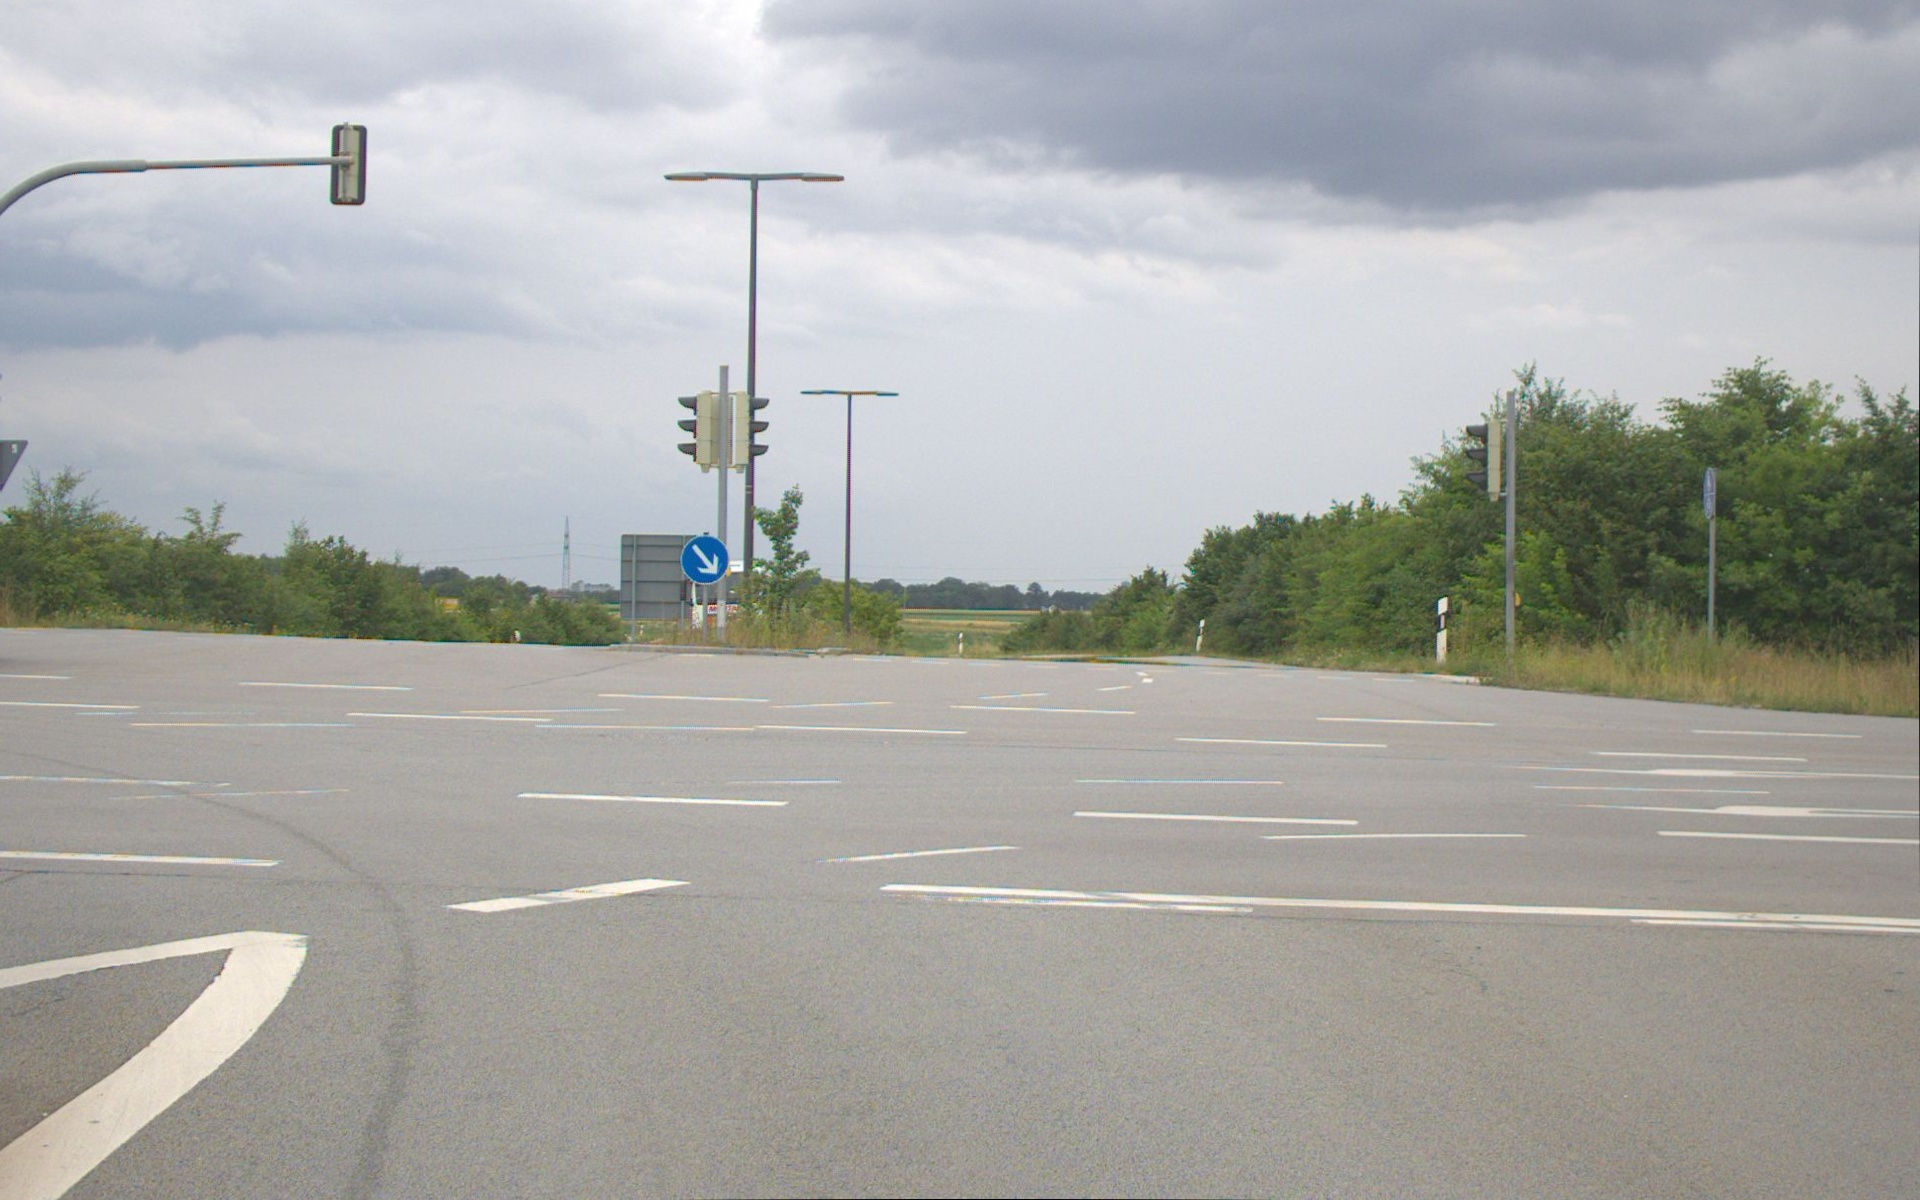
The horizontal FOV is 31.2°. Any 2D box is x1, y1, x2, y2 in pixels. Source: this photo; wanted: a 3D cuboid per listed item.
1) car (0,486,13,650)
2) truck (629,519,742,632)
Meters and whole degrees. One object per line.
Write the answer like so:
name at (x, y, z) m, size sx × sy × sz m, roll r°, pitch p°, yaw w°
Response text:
car at (-9.799, -0.258, 30.212) m, size 1.810 × 1.515 × 4.243 m, roll 2°, pitch 2°, yaw -1°
truck at (-8.641, -0.721, 109.114) m, size 2.869 × 3.396 × 8.650 m, roll 1°, pitch -1°, yaw 0°
